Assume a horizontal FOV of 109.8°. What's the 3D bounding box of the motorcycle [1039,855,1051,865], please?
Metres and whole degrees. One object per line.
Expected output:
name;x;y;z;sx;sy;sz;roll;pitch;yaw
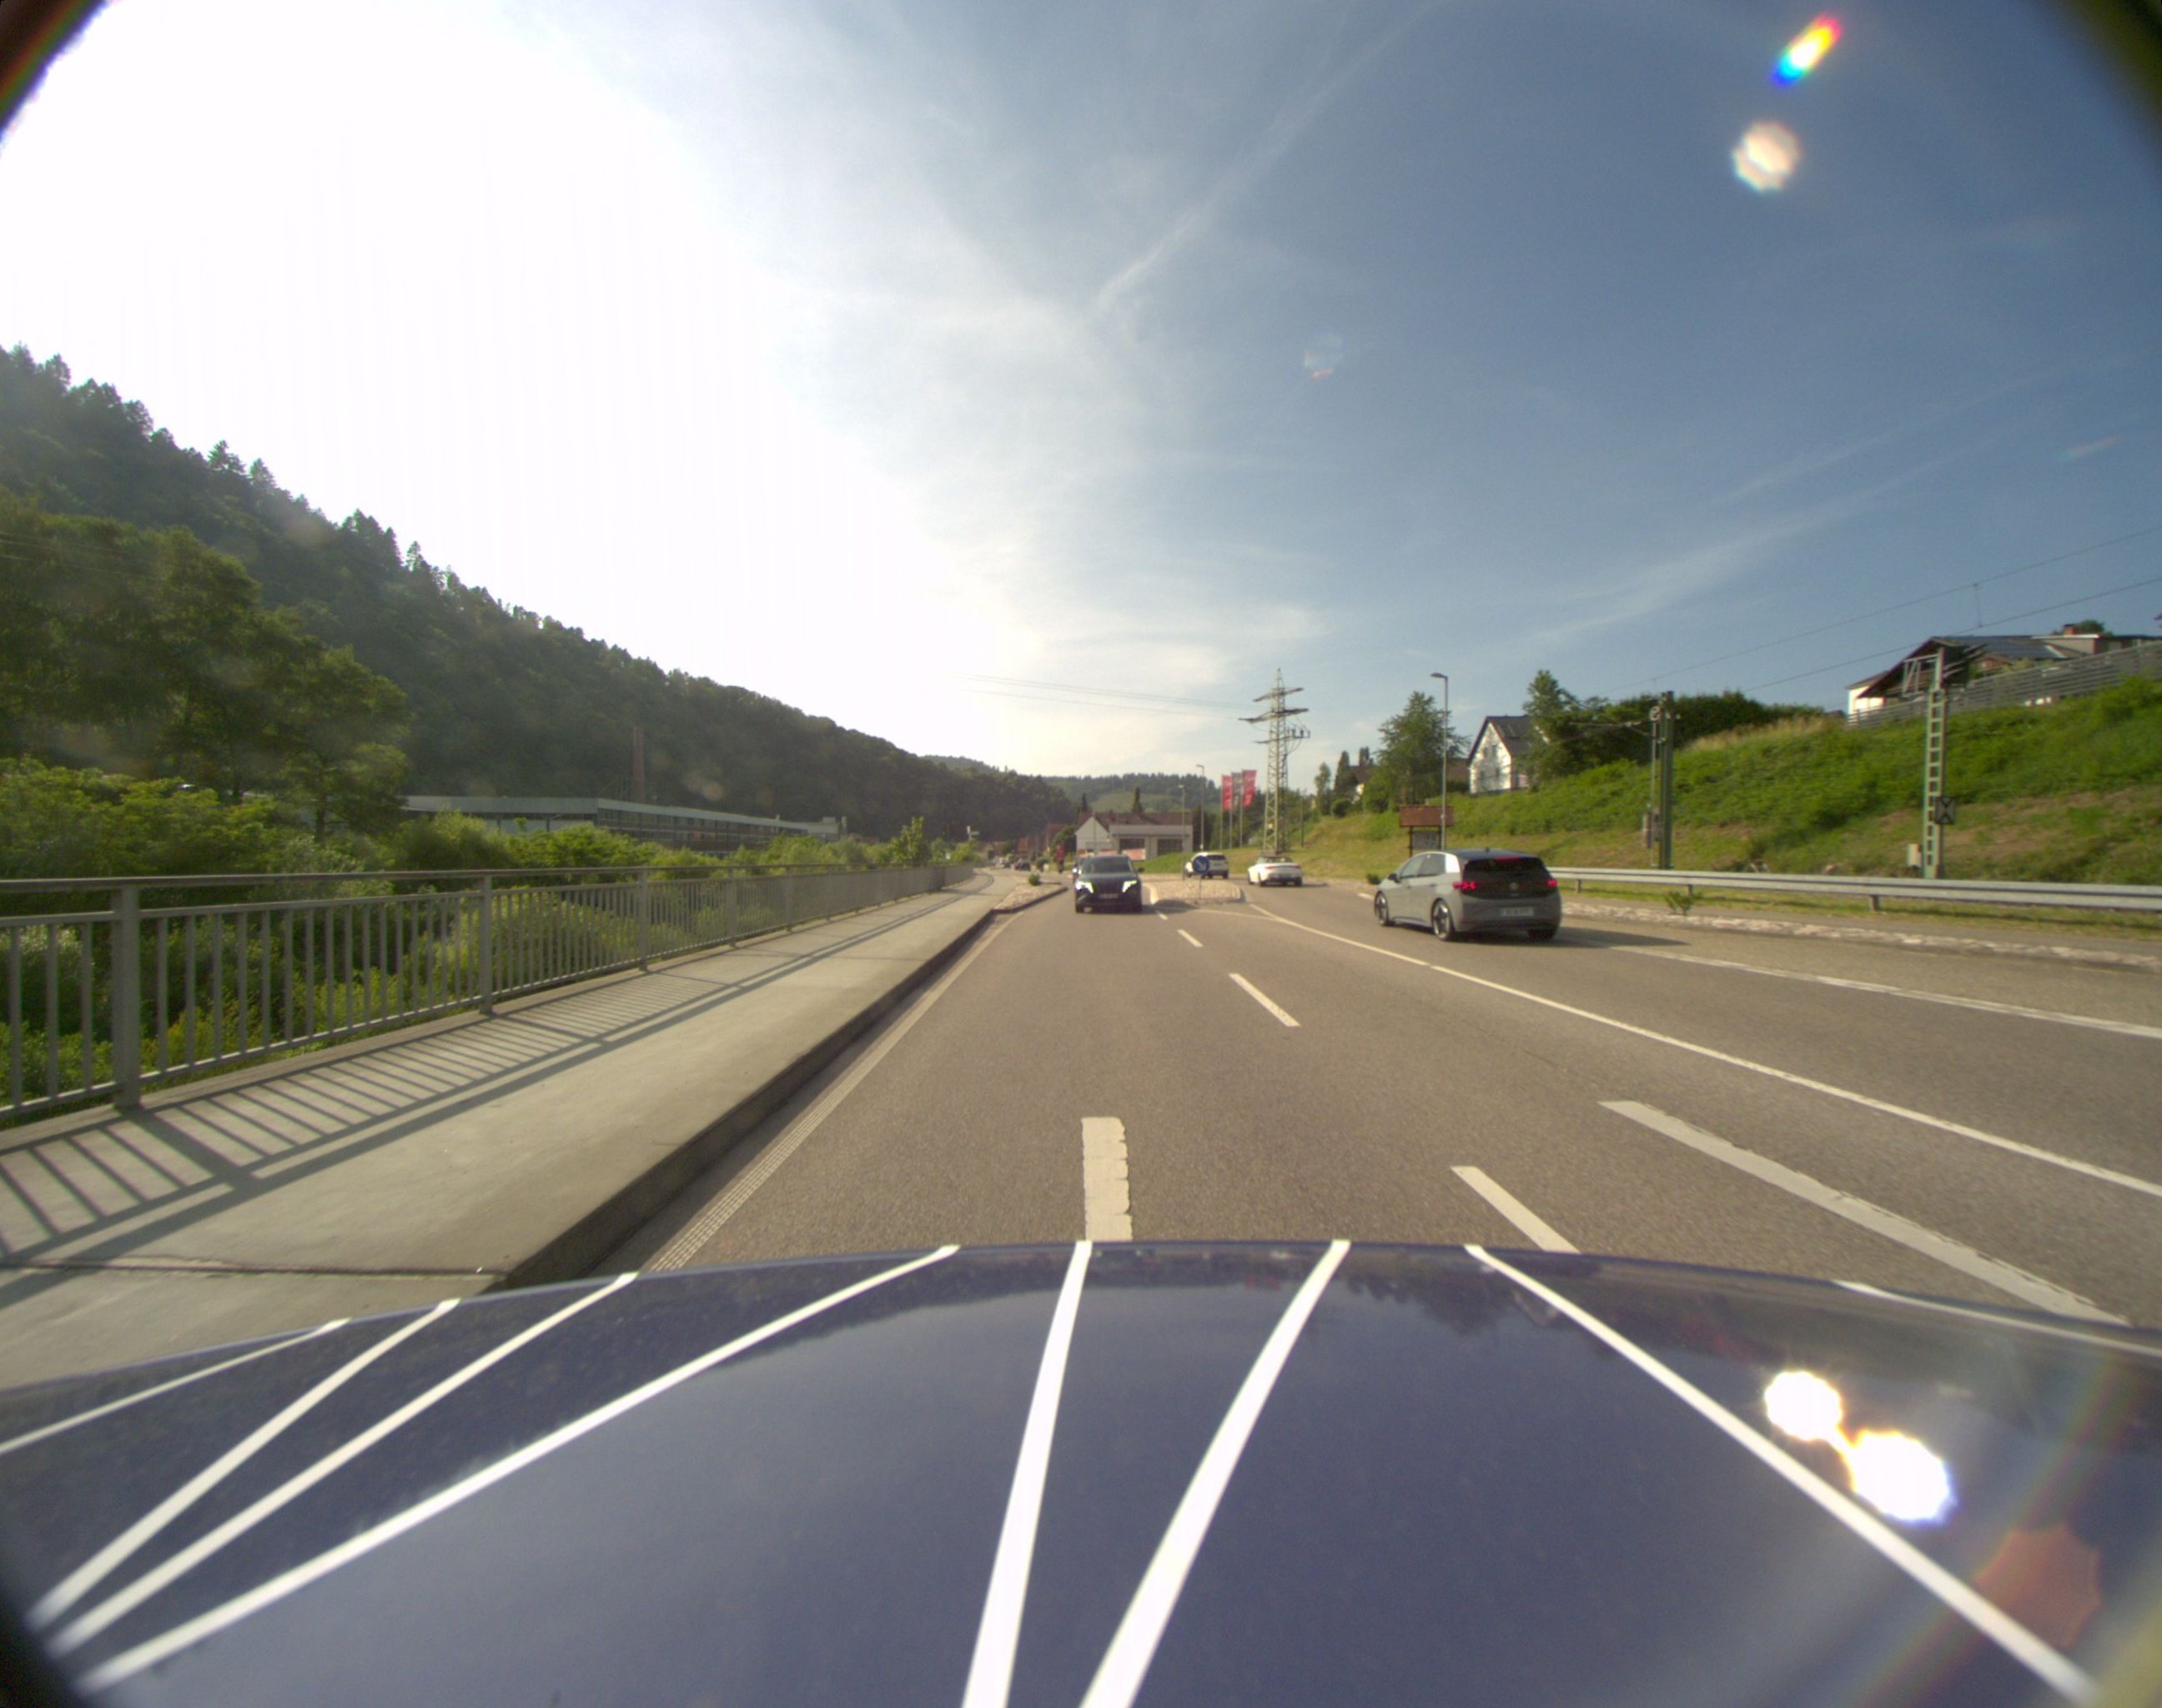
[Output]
motorcycle;-5.023;0.825;105.498;0.898;1.176;2.302;-6;0;-21

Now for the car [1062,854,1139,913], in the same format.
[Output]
car;0.532;0.882;23.862;1.650;1.639;3.997;-2;0;-9

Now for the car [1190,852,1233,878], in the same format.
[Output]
car;8.220;0.654;48.276;1.769;1.551;3.998;-2;0;-4

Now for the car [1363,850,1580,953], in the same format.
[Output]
car;6.720;0.721;13.655;1.763;1.512;4.205;-2;0;1

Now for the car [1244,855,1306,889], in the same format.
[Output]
car;8.910;0.805;35.264;1.786;1.391;4.828;-1;-1;2
